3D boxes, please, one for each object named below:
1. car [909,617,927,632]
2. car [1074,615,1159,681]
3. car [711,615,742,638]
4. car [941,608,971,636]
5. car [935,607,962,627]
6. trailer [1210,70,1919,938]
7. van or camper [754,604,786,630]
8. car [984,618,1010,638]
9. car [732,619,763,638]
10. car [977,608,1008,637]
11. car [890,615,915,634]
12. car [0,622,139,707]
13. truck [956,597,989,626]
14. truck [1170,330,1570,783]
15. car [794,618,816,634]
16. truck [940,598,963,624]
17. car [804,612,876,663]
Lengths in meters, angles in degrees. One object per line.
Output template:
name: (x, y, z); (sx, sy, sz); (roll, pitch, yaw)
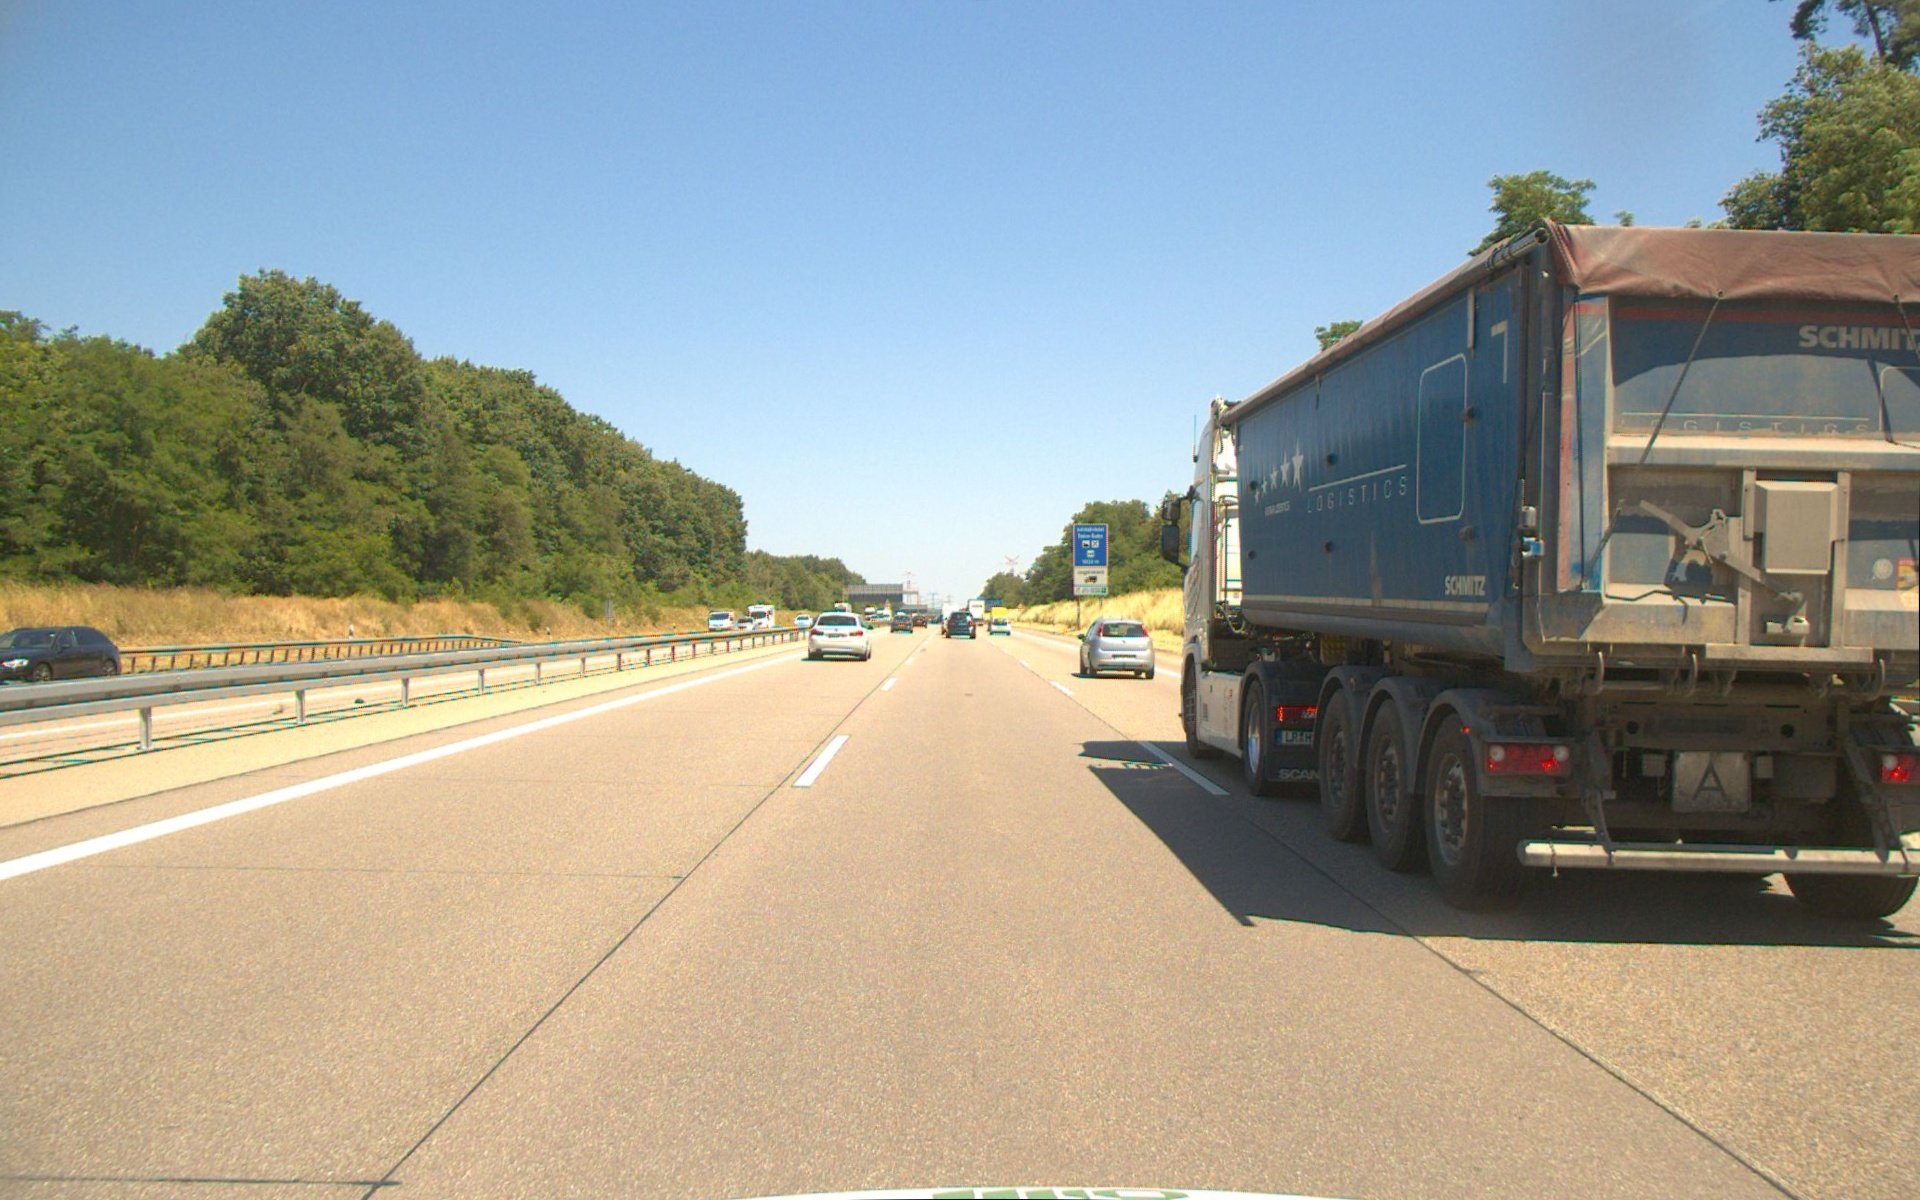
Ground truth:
car: (-4.708, 2.763, 186.603); (1.837, 1.608, 3.928); (1, 0, 0)
car: (3.955, 1.196, 42.326); (1.684, 1.517, 3.736); (1, 0, -2)
car: (-20.672, 2.322, 146.662); (1.953, 1.987, 5.244); (-2, -1, 0)
car: (-0.273, 1.444, 107.641); (1.795, 1.701, 3.998); (2, -1, -2)
car: (-0.892, 1.314, 127.459); (1.855, 1.495, 4.262); (1, 0, 2)
trailer: (3.860, -0.422, 11.875); (2.681, 3.824, 9.108); (0, 0, 0)
van or camper: (-20.355, 1.852, 177.492); (2.411, 2.620, 7.768); (-2, -1, 0)
car: (2.984, 2.257, 133.241); (1.785, 1.518, 3.734); (1, -1, -4)
car: (-17.458, 2.325, 135.831); (1.813, 1.554, 5.204); (-1, -1, 1)
car: (3.134, 2.233, 161.411); (2.613, 2.680, 6.110); (1, -1, -2)
car: (-4.619, 1.990, 133.515); (1.794, 1.457, 4.998); (1, 0, 0)
car: (-20.602, 1.412, 37.062); (1.953, 1.733, 4.978); (-2, 0, -1)
truck: (1.928, 1.898, 264.841); (3.917, 4.391, 9.865); (2, -1, -7)
truck: (3.863, -0.371, 17.029); (2.629, 3.824, 5.943); (0, 0, 0)
car: (-17.588, 2.925, 187.755); (1.953, 1.724, 5.244); (-2, -1, 0)
truck: (-0.979, 1.299, 189.822); (2.380, 2.935, 6.202); (1, -1, -2)
car: (-3.768, 1.172, 52.811); (1.924, 1.530, 5.403); (1, -1, -1)
